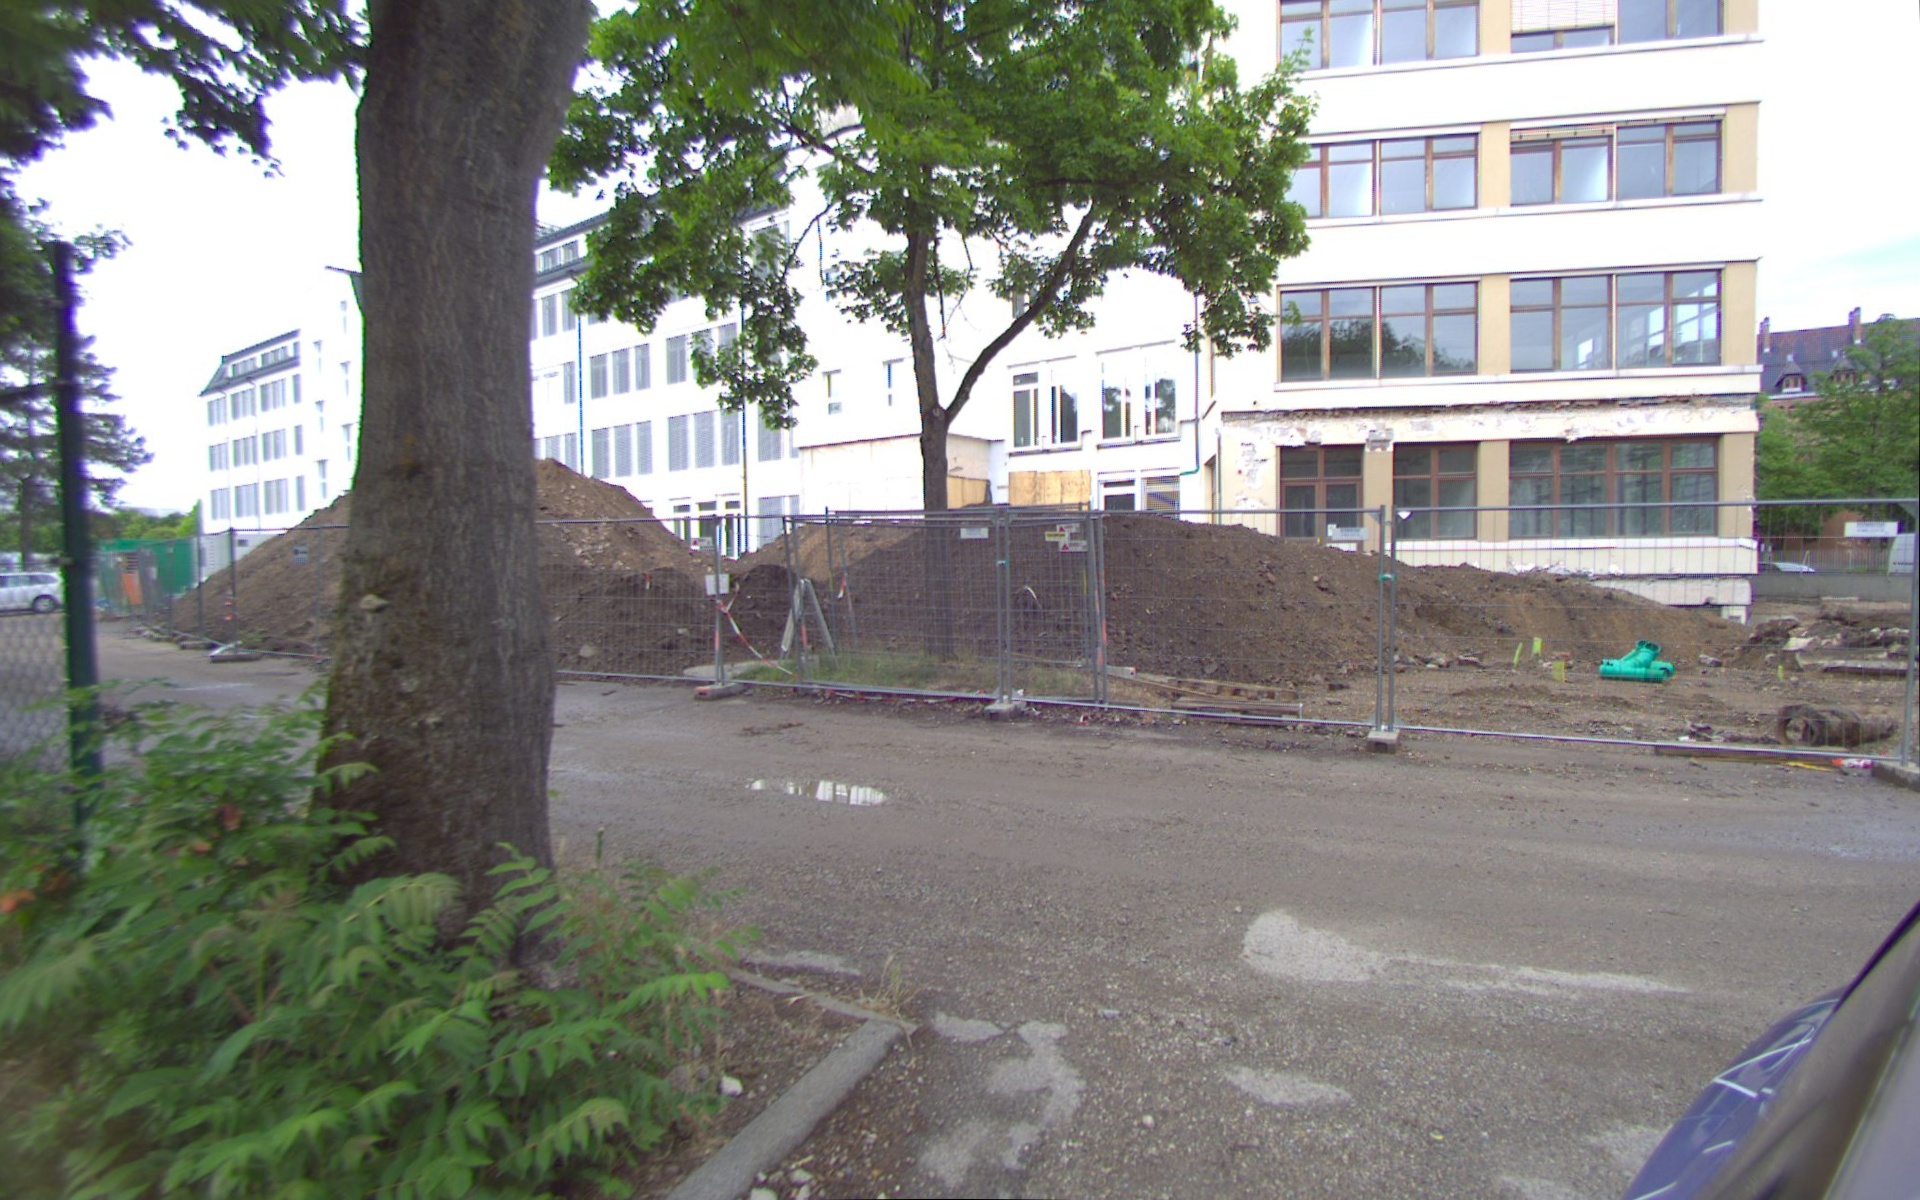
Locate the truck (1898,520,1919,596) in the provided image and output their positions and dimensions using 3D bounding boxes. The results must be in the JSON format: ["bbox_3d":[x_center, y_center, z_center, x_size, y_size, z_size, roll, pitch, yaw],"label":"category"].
[{"bbox_3d":[33.950,-1.413,33.055,2.084,2.634,5.482,-2,2,8],"label":"truck"}]

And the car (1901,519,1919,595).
[{"bbox_3d":[33.956,-1.432,32.931,2.084,2.634,5.482,-2,2,8],"label":"car"}]
